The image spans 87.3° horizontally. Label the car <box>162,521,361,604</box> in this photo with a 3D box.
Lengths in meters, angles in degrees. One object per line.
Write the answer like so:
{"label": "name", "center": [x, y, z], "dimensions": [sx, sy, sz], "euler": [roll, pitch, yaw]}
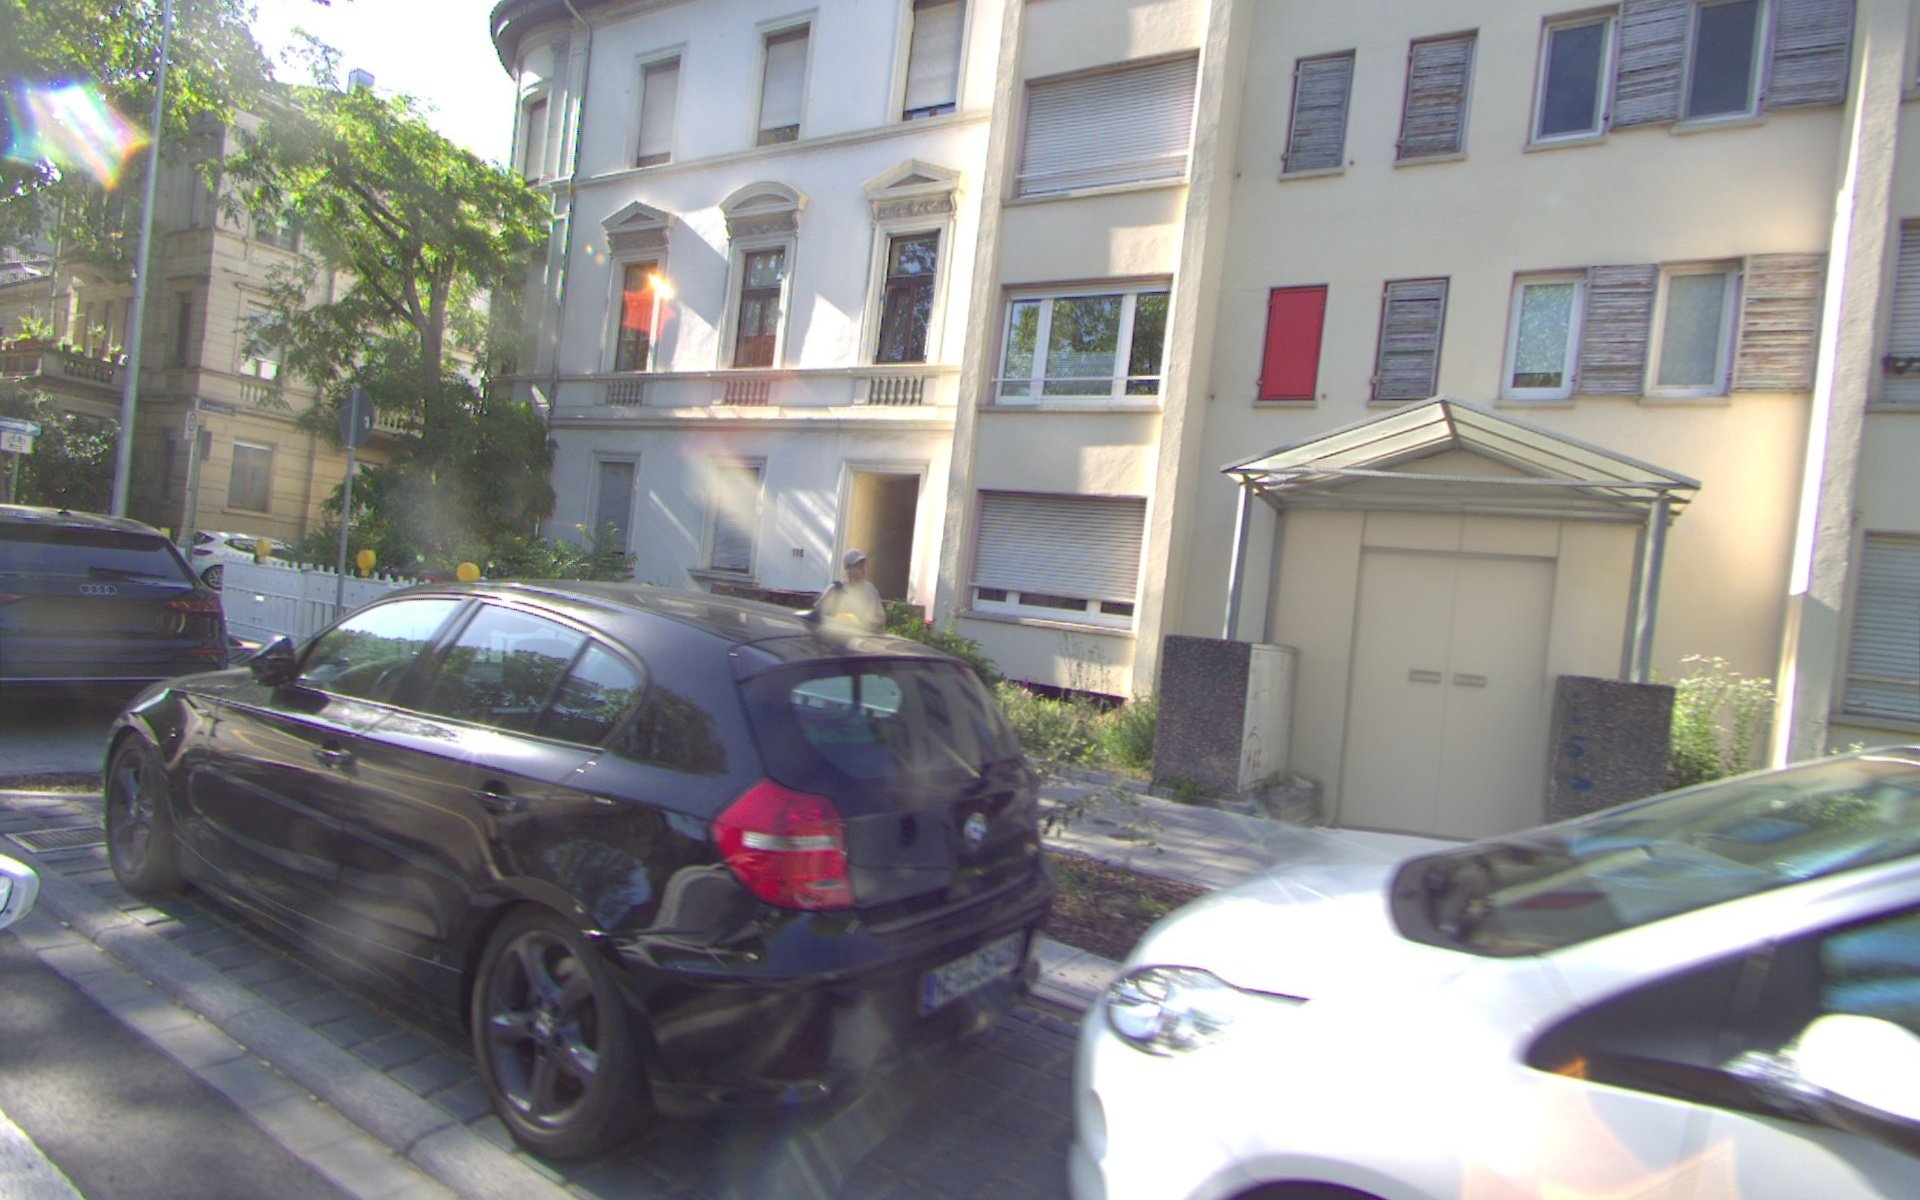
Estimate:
{"label": "car", "center": [-18.984, -0.981, 27.496], "dimensions": [1.842, 1.580, 3.935], "euler": [9, 0, 33]}

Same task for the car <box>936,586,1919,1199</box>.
{"label": "car", "center": [1.968, 0.937, 1.753], "dimensions": [3.672, 1.505, 1.621], "euler": [7, 1, 32]}

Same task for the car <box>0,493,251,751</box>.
{"label": "car", "center": [-7.092, -0.029, 7.334], "dimensions": [4.029, 1.505, 1.621], "euler": [7, 1, 32]}

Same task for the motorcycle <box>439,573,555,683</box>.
{"label": "motorcycle", "center": [-5.837, 0.339, 12.650], "dimensions": [1.532, 1.201, 0.596], "euler": [6, 0, 38]}

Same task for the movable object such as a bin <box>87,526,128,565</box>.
{"label": "movable object such as a bin", "center": [-23.739, -1.512, 28.010], "dimensions": [0.539, 0.982, 0.687], "euler": [7, 0, 34]}

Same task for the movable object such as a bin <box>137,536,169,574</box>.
{"label": "movable object such as a bin", "center": [-22.400, -1.244, 27.921], "dimensions": [0.392, 0.982, 0.519], "euler": [7, 0, 34]}

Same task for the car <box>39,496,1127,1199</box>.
{"label": "car", "center": [-1.613, 0.554, 3.764], "dimensions": [3.989, 1.505, 1.621], "euler": [7, 1, 32]}

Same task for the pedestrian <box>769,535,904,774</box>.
{"label": "pedestrian", "center": [-1.033, 0.442, 8.454], "dimensions": [0.683, 1.872, 0.665], "euler": [7, 1, 31]}
